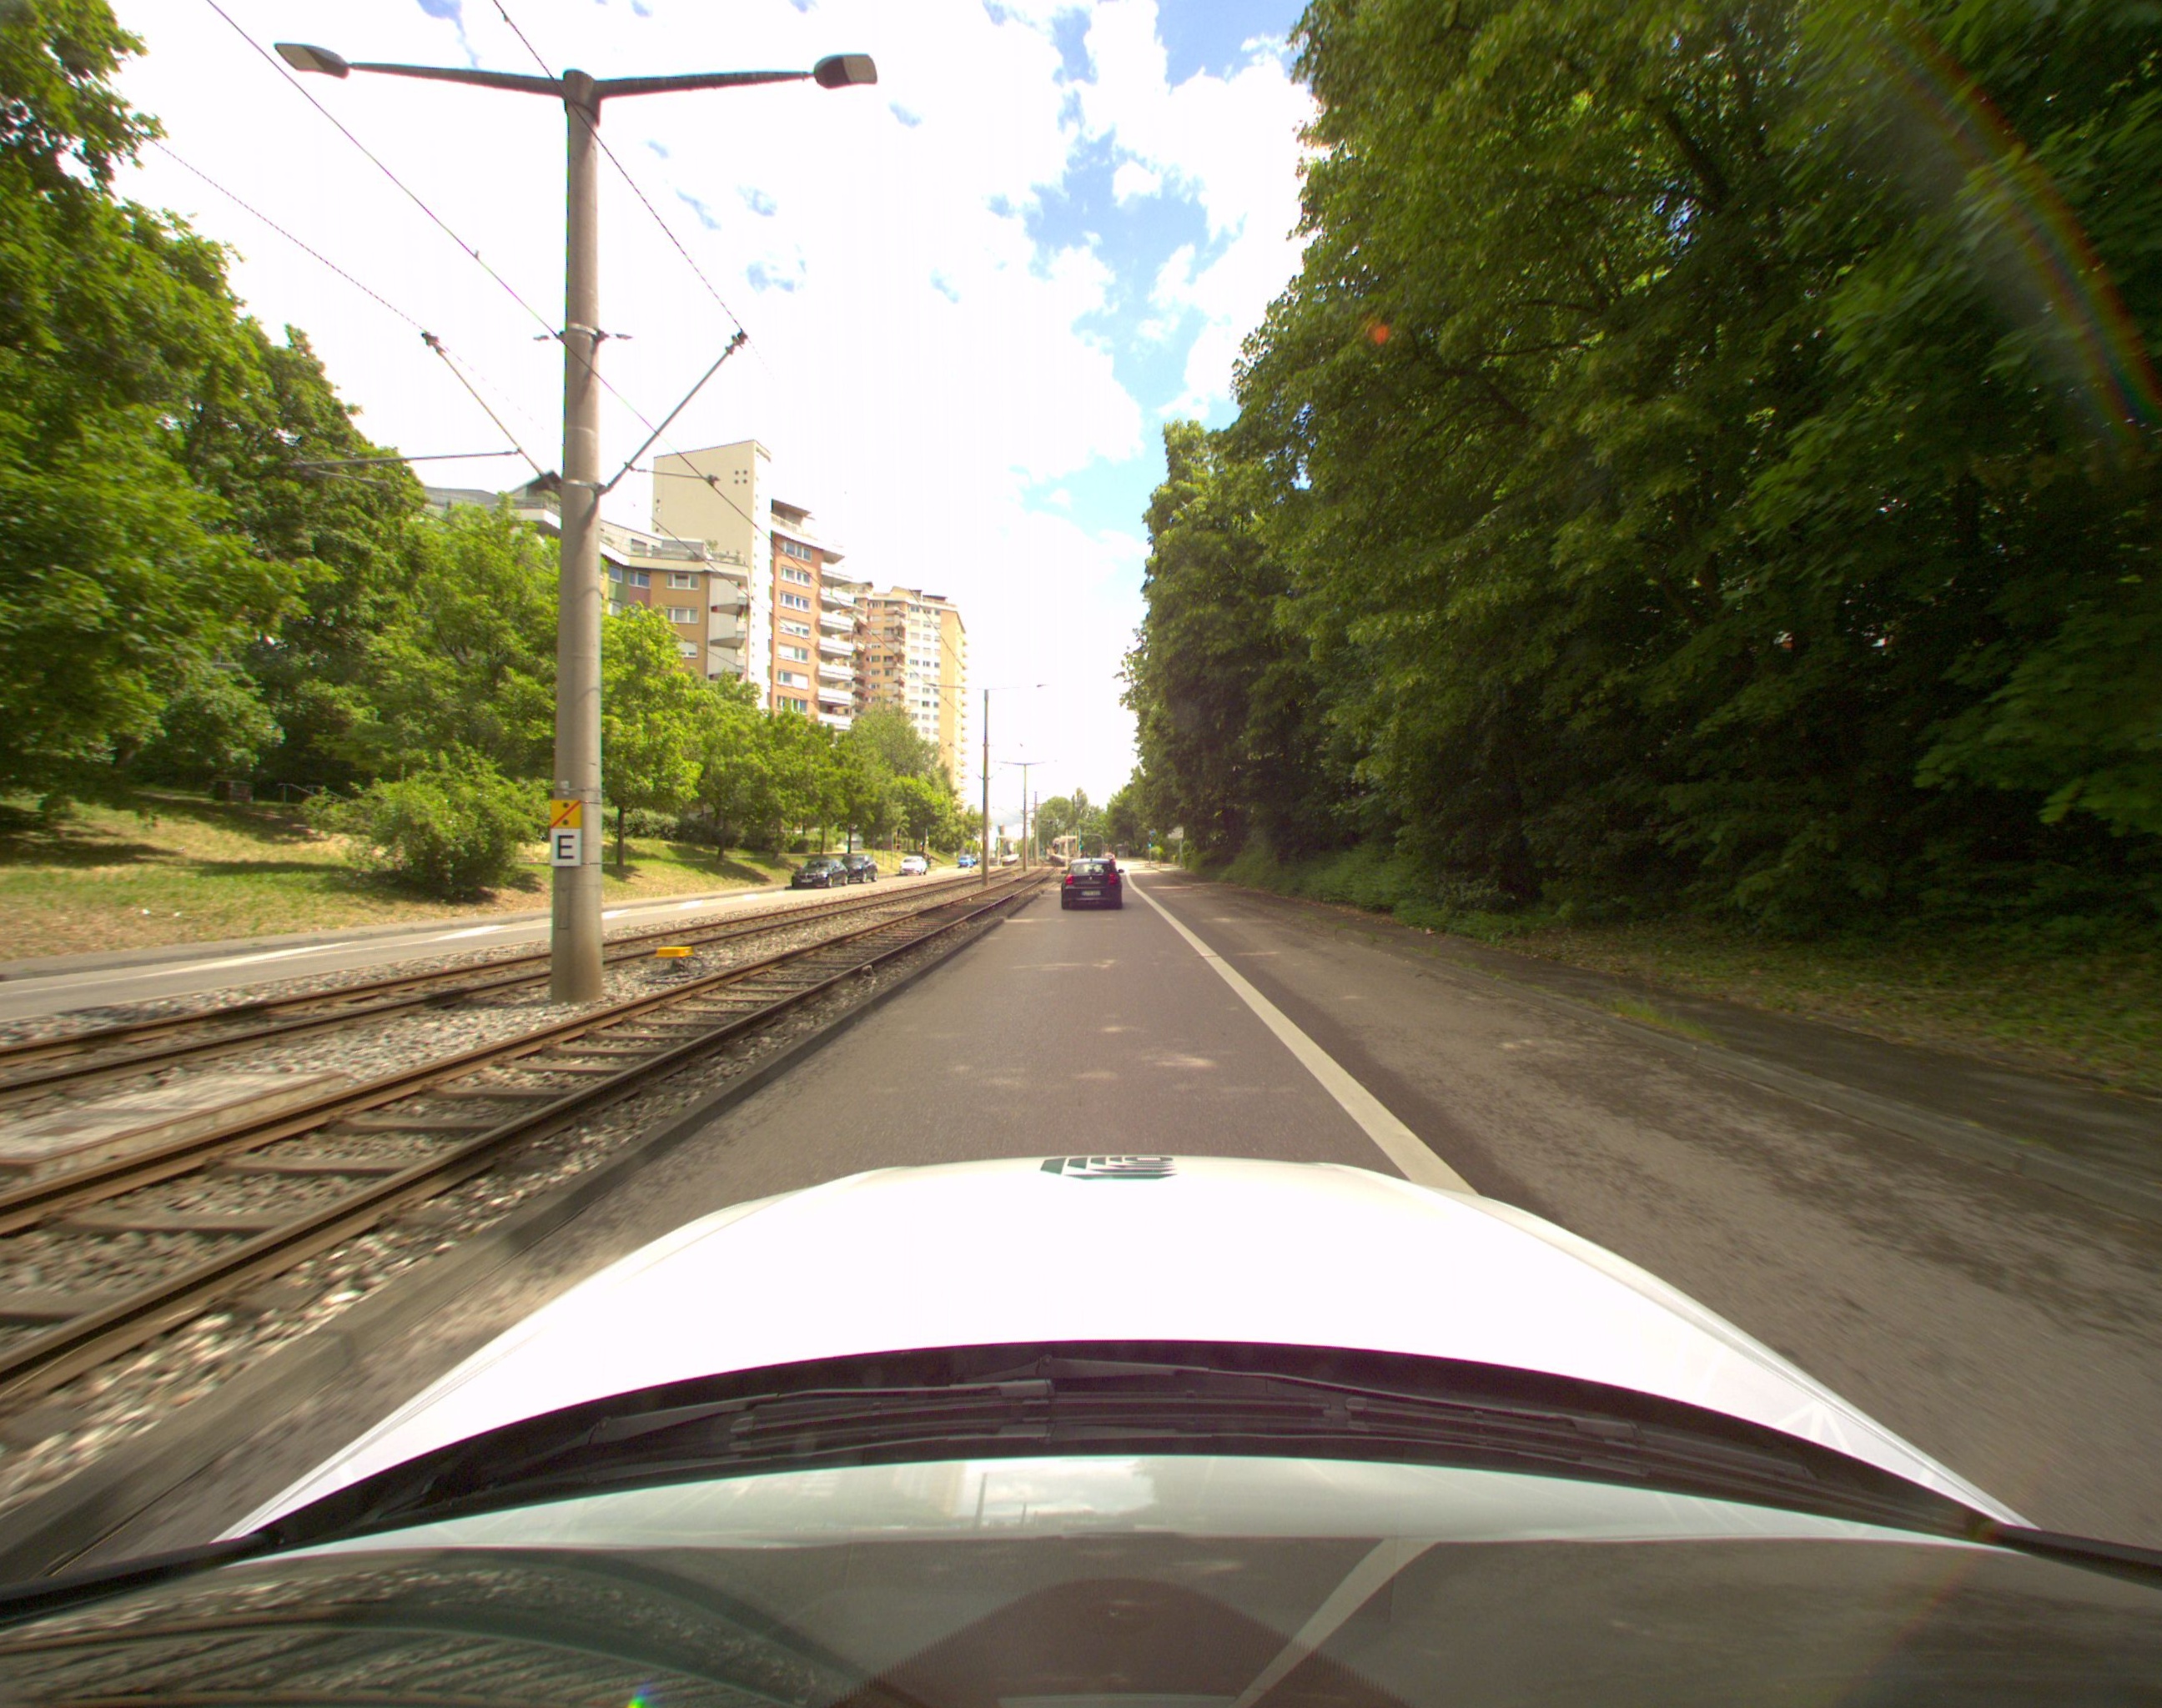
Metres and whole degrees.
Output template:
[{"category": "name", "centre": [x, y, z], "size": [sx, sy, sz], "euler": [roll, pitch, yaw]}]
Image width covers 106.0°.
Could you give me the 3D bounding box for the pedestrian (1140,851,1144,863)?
[{"category": "pedestrian", "centre": [10.572, 0.538, 141.000], "size": [0.737, 2.013, 0.682], "euler": [-1, 0, 2]}]

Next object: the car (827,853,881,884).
[{"category": "car", "centre": [-12.781, 0.789, 46.092], "size": [1.769, 1.630, 4.381], "euler": [-1, -1, 0]}]

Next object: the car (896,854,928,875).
[{"category": "car", "centre": [-13.189, 0.815, 63.687], "size": [1.777, 1.532, 4.239], "euler": [-2, 0, -4]}]

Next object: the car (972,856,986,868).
[{"category": "car", "centre": [-14.717, 1.146, 117.547], "size": [1.711, 1.564, 3.694], "euler": [-1, 0, -2]}]

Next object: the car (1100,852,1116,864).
[{"category": "car", "centre": [3.361, 0.450, 101.709], "size": [1.776, 1.459, 3.918], "euler": [-1, 0, -2]}]

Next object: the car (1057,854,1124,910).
[{"category": "car", "centre": [0.265, 0.764, 24.017], "size": [1.775, 1.459, 3.920], "euler": [-2, 0, 0]}]

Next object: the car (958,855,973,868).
[{"category": "car", "centre": [-13.668, 0.908, 96.421], "size": [1.715, 1.442, 3.930], "euler": [-1, 0, -9]}]

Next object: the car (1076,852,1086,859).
[{"category": "car", "centre": [-0.065, 0.354, 184.501], "size": [1.905, 1.459, 3.997], "euler": [-1, 0, -4]}]

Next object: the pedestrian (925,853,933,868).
[{"category": "pedestrian", "centre": [-15.740, 0.653, 84.434], "size": [0.770, 1.534, 0.713], "euler": [-1, 0, -18]}]

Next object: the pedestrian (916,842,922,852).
[{"category": "pedestrian", "centre": [-22.989, -0.989, 115.554], "size": [0.628, 1.534, 0.637], "euler": [-1, 0, 19]}]

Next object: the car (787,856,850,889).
[{"category": "car", "centre": [-12.823, 0.859, 40.001], "size": [1.769, 1.498, 3.996], "euler": [-1, 0, 0]}]
